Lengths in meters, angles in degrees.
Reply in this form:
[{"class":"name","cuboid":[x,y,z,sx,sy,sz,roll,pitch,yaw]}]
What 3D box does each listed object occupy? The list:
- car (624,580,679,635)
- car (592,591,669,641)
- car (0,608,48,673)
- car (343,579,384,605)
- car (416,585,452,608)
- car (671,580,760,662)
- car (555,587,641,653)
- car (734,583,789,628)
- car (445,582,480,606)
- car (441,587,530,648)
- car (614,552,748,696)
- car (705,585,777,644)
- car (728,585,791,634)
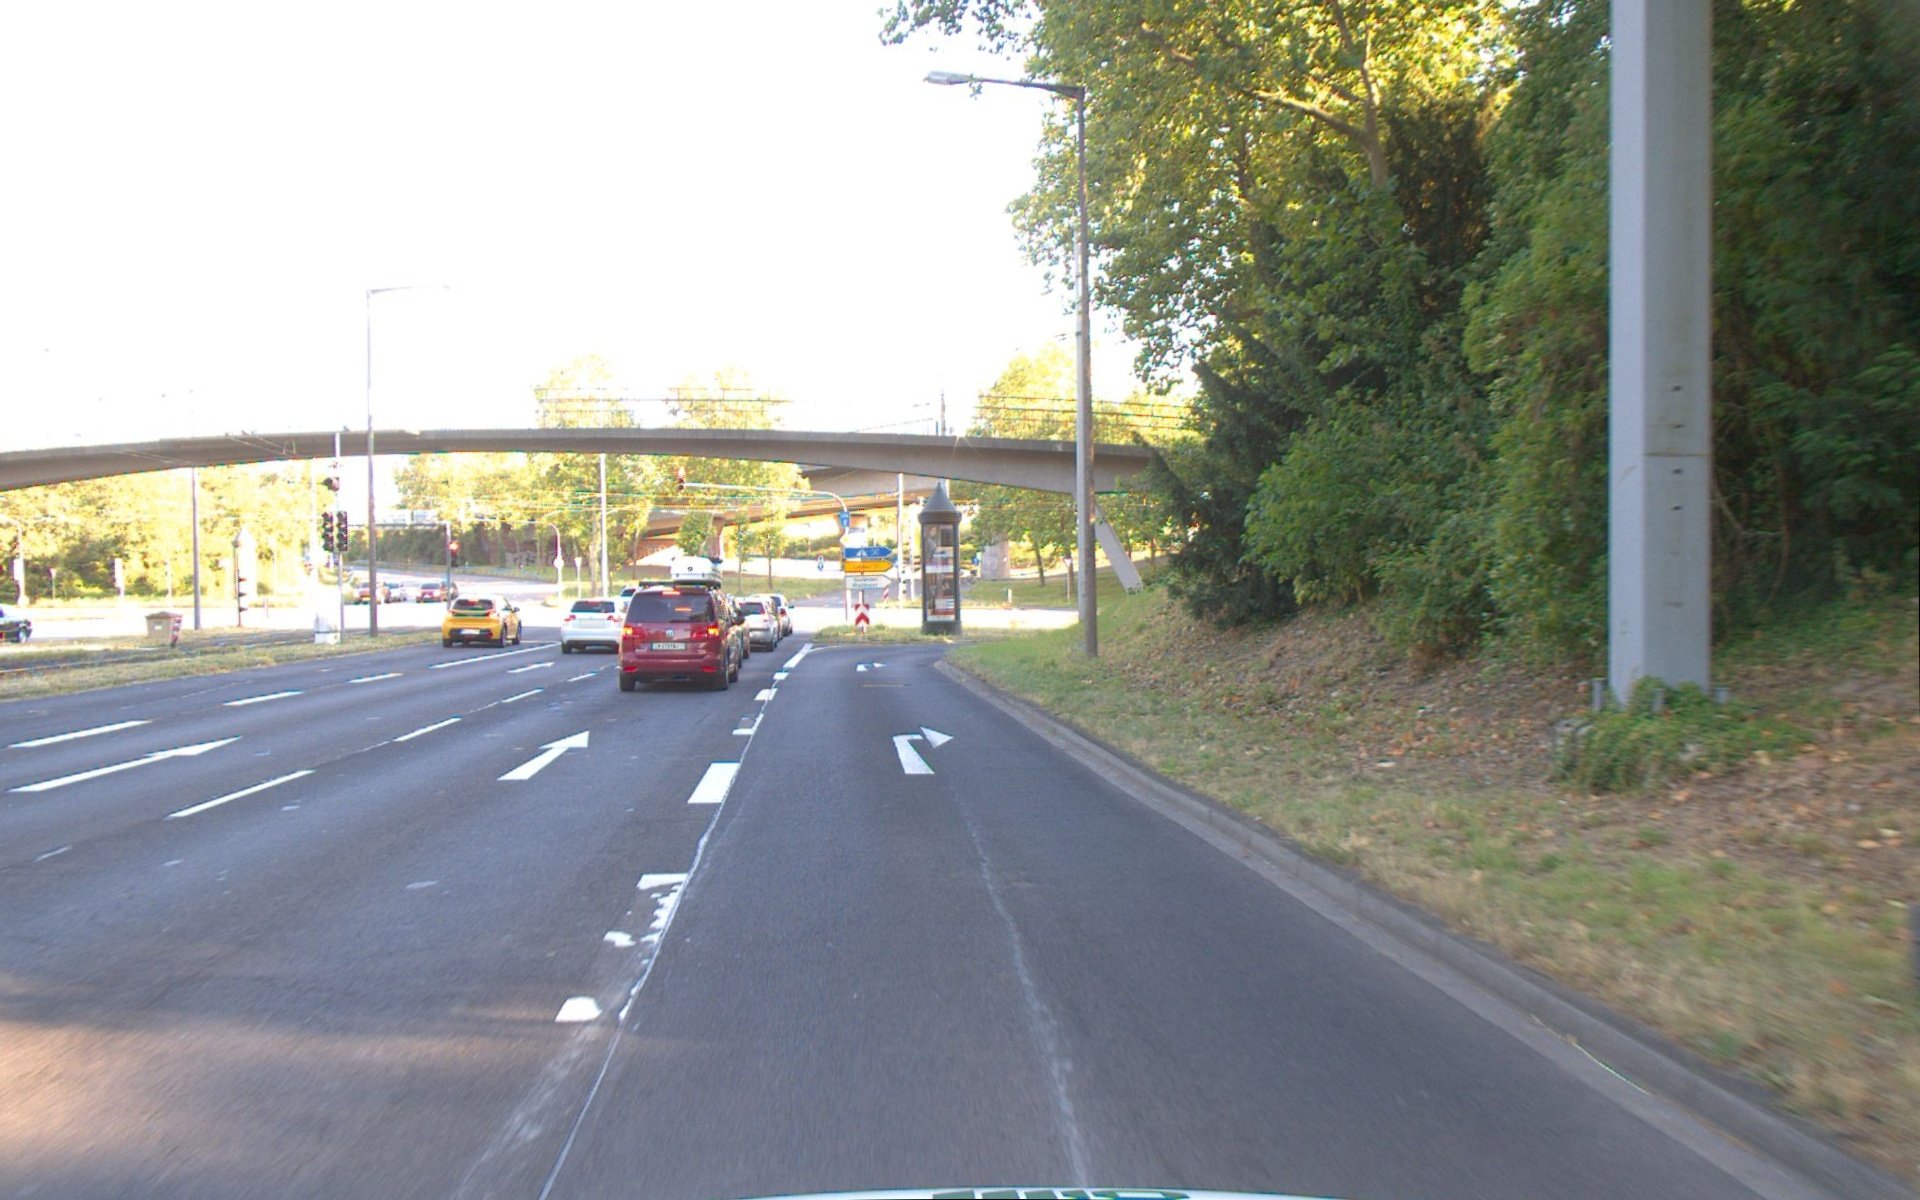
[{"class":"car","cuboid":[-11.143,0.228,60.019,1.759,1.823,4.816,-3,1,-9]},{"class":"car","cuboid":[-10.286,0.467,51.870,1.707,1.457,4.409,0,1,-3]},{"class":"car","cuboid":[-32.275,1.404,54.374,1.880,2.048,4.514,-3,1,2]},{"class":"car","cuboid":[-42.809,-0.601,118.852,1.842,1.802,3.995,0,1,-6]},{"class":"car","cuboid":[-38.728,-0.267,121.844,1.842,1.602,3.670,0,1,-6]},{"class":"car","cuboid":[-5.865,0.447,40.038,1.757,1.780,3.997,-3,1,-4]},{"class":"car","cuboid":[-9.789,0.491,44.991,1.630,1.592,4.187,-3,1,-4]},{"class":"car","cuboid":[-7.222,0.169,60.400,1.757,1.467,3.997,-3,1,-4]},{"class":"car","cuboid":[-38.612,-0.477,128.507,1.842,1.802,3.995,0,1,-6]},{"class":"car","cuboid":[-13.719,0.461,47.982,1.630,1.592,3.997,-3,1,-4]},{"class":"car","cuboid":[-4.549,0.335,27.484,1.757,2.141,3.996,-3,1,-5]},{"class":"car","cuboid":[-6.273,0.375,47.724,1.757,1.507,3.997,-3,1,-4]},{"class":"car","cuboid":[-6.517,0.273,54.121,1.757,1.406,4.472,-3,1,-4]}]
